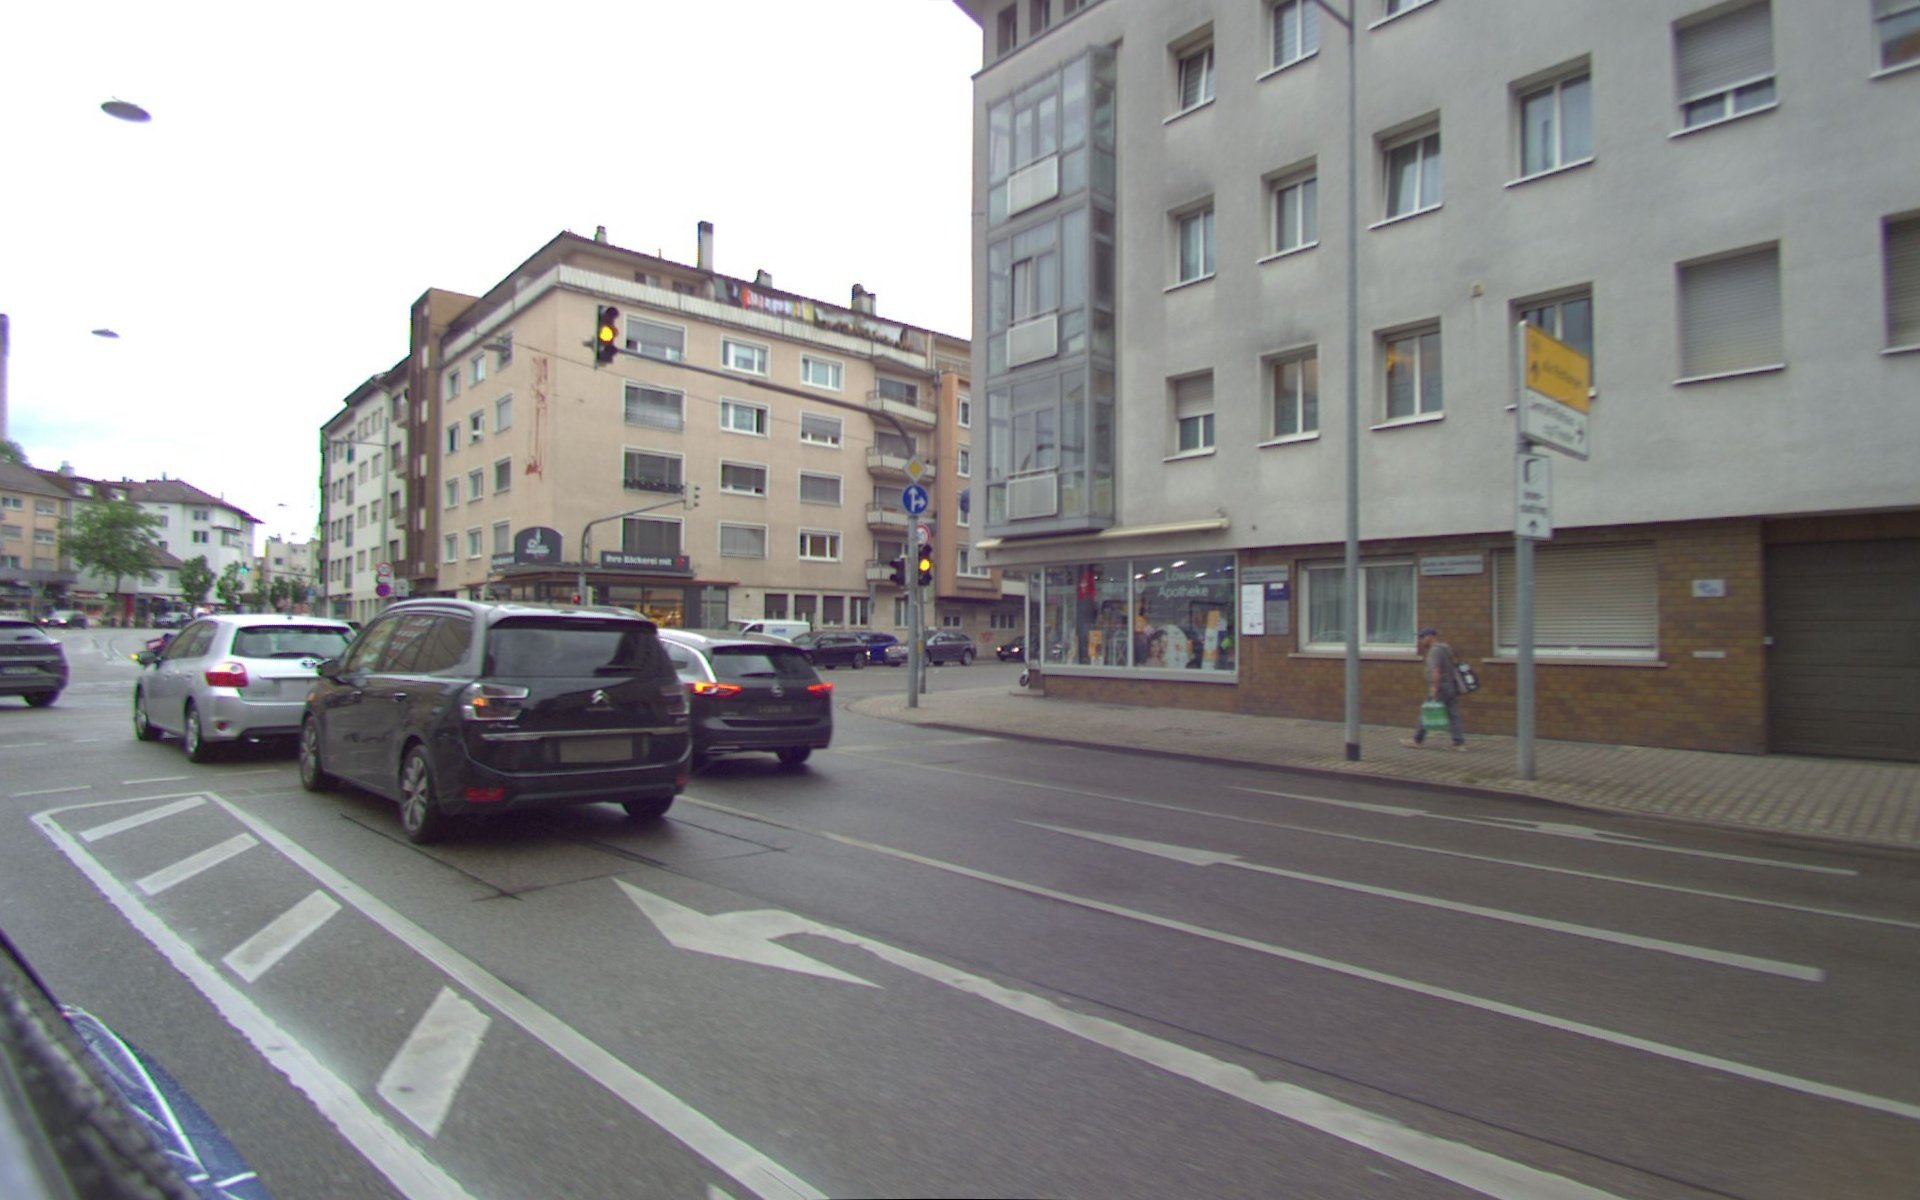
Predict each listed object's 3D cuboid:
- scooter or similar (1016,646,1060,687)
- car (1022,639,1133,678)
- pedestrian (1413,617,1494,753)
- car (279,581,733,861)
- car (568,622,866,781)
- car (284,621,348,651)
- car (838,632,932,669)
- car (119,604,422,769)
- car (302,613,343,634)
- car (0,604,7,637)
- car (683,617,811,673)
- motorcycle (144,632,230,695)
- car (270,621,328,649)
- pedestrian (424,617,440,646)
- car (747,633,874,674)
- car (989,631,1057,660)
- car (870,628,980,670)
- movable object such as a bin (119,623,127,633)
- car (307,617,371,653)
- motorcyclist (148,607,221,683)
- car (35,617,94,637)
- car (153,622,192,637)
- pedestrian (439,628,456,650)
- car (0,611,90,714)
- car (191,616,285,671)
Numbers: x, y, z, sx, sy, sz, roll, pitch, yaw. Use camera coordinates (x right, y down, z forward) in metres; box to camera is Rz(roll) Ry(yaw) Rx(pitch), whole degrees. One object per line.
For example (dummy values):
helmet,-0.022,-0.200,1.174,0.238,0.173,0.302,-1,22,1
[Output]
scooter or similar,2.160,1.841,27.951,1.128,1.103,0.362,-3,-4,25
car,4.508,2.226,38.382,1.999,1.398,4.437,-2,-4,42
pedestrian,6.084,1.016,12.485,0.678,1.593,0.652,-1,0,-41
car,-3.826,0.729,8.082,4.433,1.620,1.800,0,-2,45
car,-2.978,1.021,11.610,1.796,1.444,4.410,4,-3,-34
car,-34.500,1.924,54.168,1.970,1.488,4.522,3,-3,-44
car,-3.548,2.362,48.190,2.045,1.566,4.282,2,0,39
car,-8.049,0.855,11.668,4.134,1.538,1.913,0,-2,42
car,-67.043,2.463,106.544,2.090,2.029,5.142,-1,1,-13
car,-62.840,1.291,63.715,2.162,2.102,5.953,1,-1,-23
car,-8.722,1.832,41.793,2.047,2.118,4.797,2,0,44
motorcycle,-15.699,1.260,20.543,2.093,1.200,0.583,0,-1,29
car,-38.047,1.983,58.216,1.860,1.488,4.984,4,-3,-43
pedestrian,-29.048,1.720,55.704,0.668,1.595,0.538,0,-1,35
car,-5.336,1.921,36.601,2.045,1.387,4.282,-3,-3,40
car,3.584,2.520,56.973,1.838,1.502,4.211,2,0,35
car,-1.403,2.007,41.850,2.044,1.602,4.594,-3,-3,39
movable object such as a bin,-78.449,2.652,94.834,0.413,0.937,0.533,3,-4,-21
car,-29.334,1.633,47.745,1.883,1.566,4.639,3,-2,-39
motorcyclist,-15.793,0.904,20.624,0.860,1.505,0.909,0,-1,28
car,-69.373,2.079,78.488,1.813,1.453,4.011,-1,-1,-15
car,-75.800,2.789,97.460,1.783,1.352,4.013,-1,-1,-20
pedestrian,-27.539,2.099,54.406,0.663,1.157,0.596,1,-1,-14
car,-16.582,0.948,16.334,4.188,1.565,1.852,0,-2,16
car,-23.814,1.391,33.309,1.800,1.652,4.376,3,-2,-45
